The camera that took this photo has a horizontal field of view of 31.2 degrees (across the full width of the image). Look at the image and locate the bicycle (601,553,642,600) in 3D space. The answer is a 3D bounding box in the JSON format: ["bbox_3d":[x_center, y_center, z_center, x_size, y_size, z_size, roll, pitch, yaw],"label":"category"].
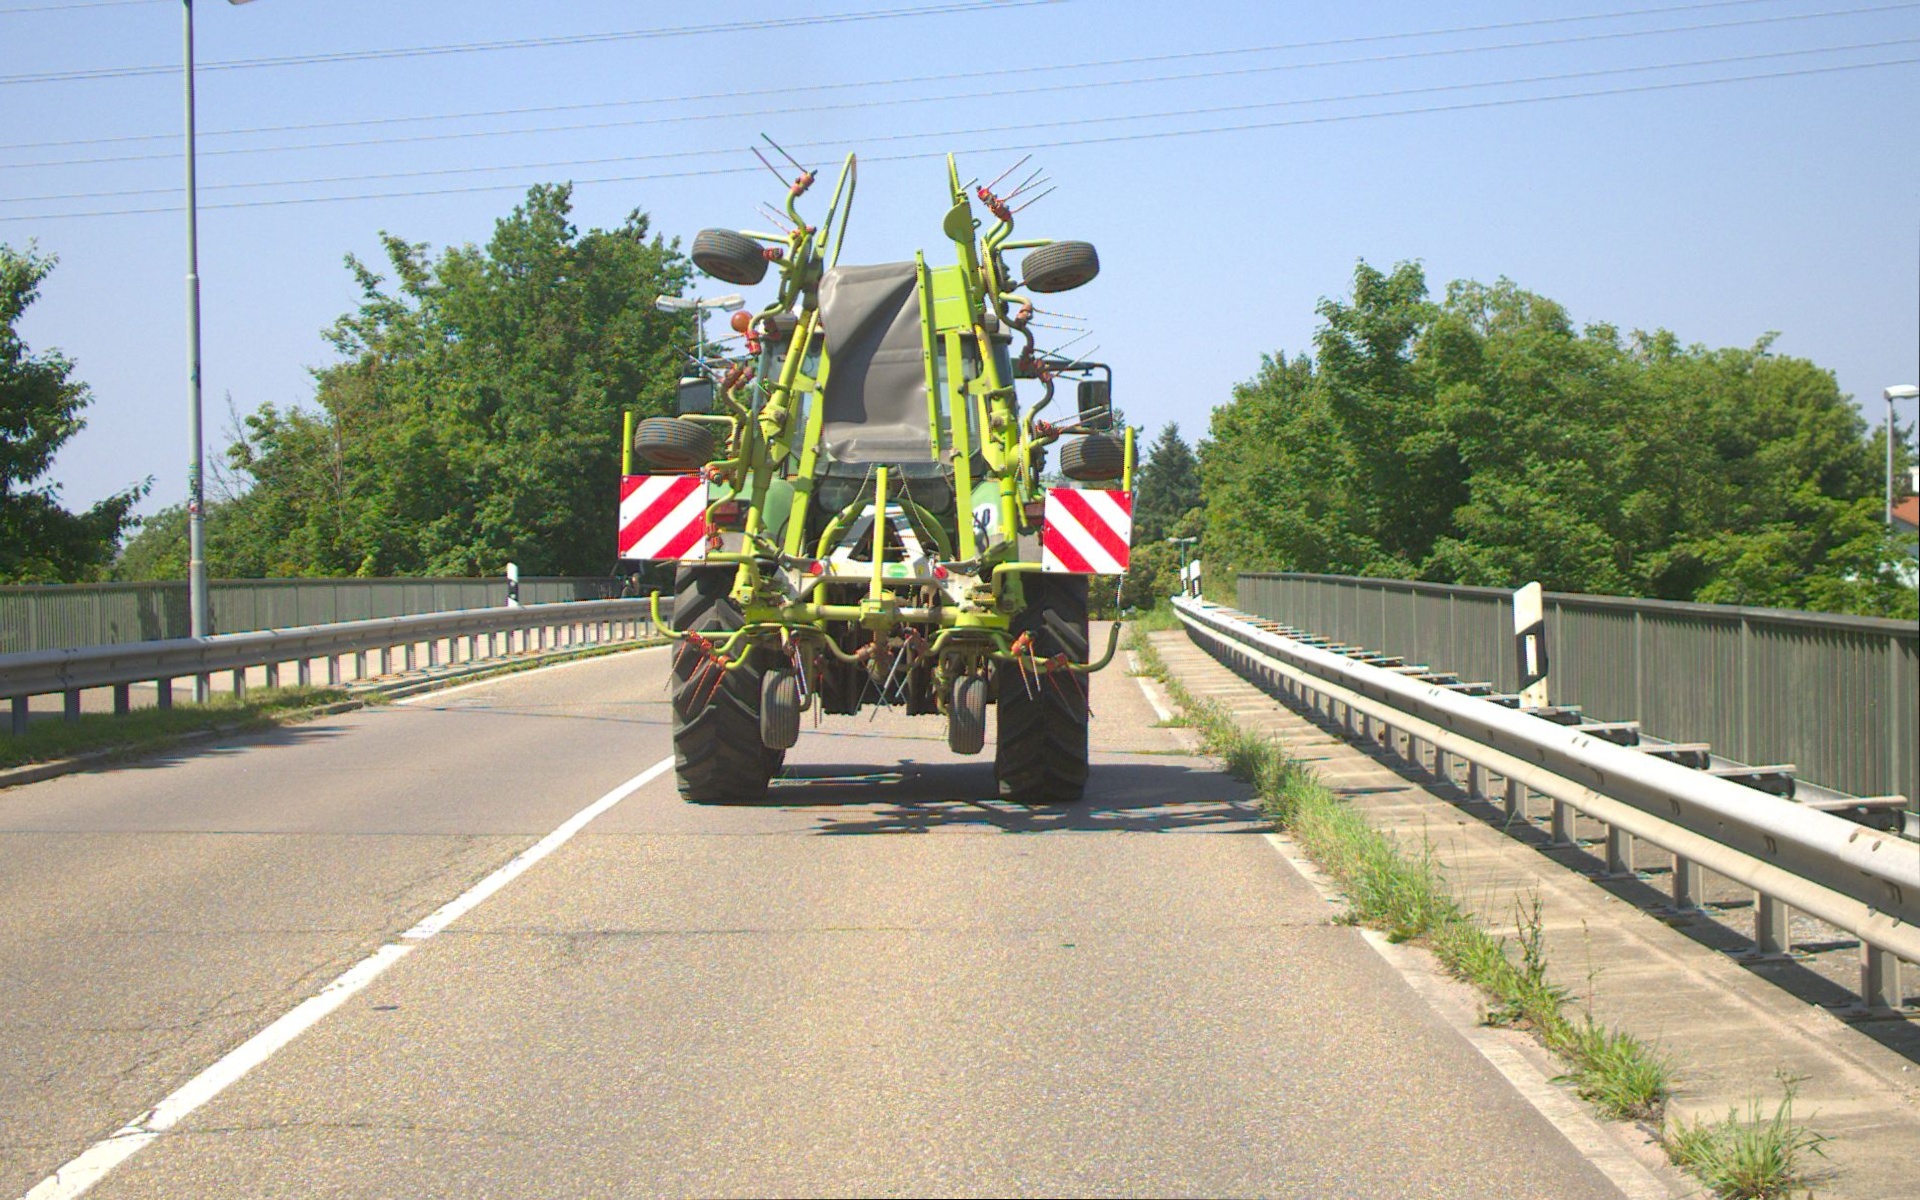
[{"bbox_3d":[-7.626,-0.535,77.541,0.677,0.998,2.119,-1,1,0],"label":"bicycle"}]

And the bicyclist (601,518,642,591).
[{"bbox_3d":[-7.644,-1.033,77.677,0.765,1.628,0.895,-1,1,1],"label":"bicyclist"}]

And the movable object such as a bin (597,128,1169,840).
[{"bbox_3d":[-0.425,-0.639,19.441,2.755,3.432,5.670,0,2,-1],"label":"movable object such as a bin"}]
